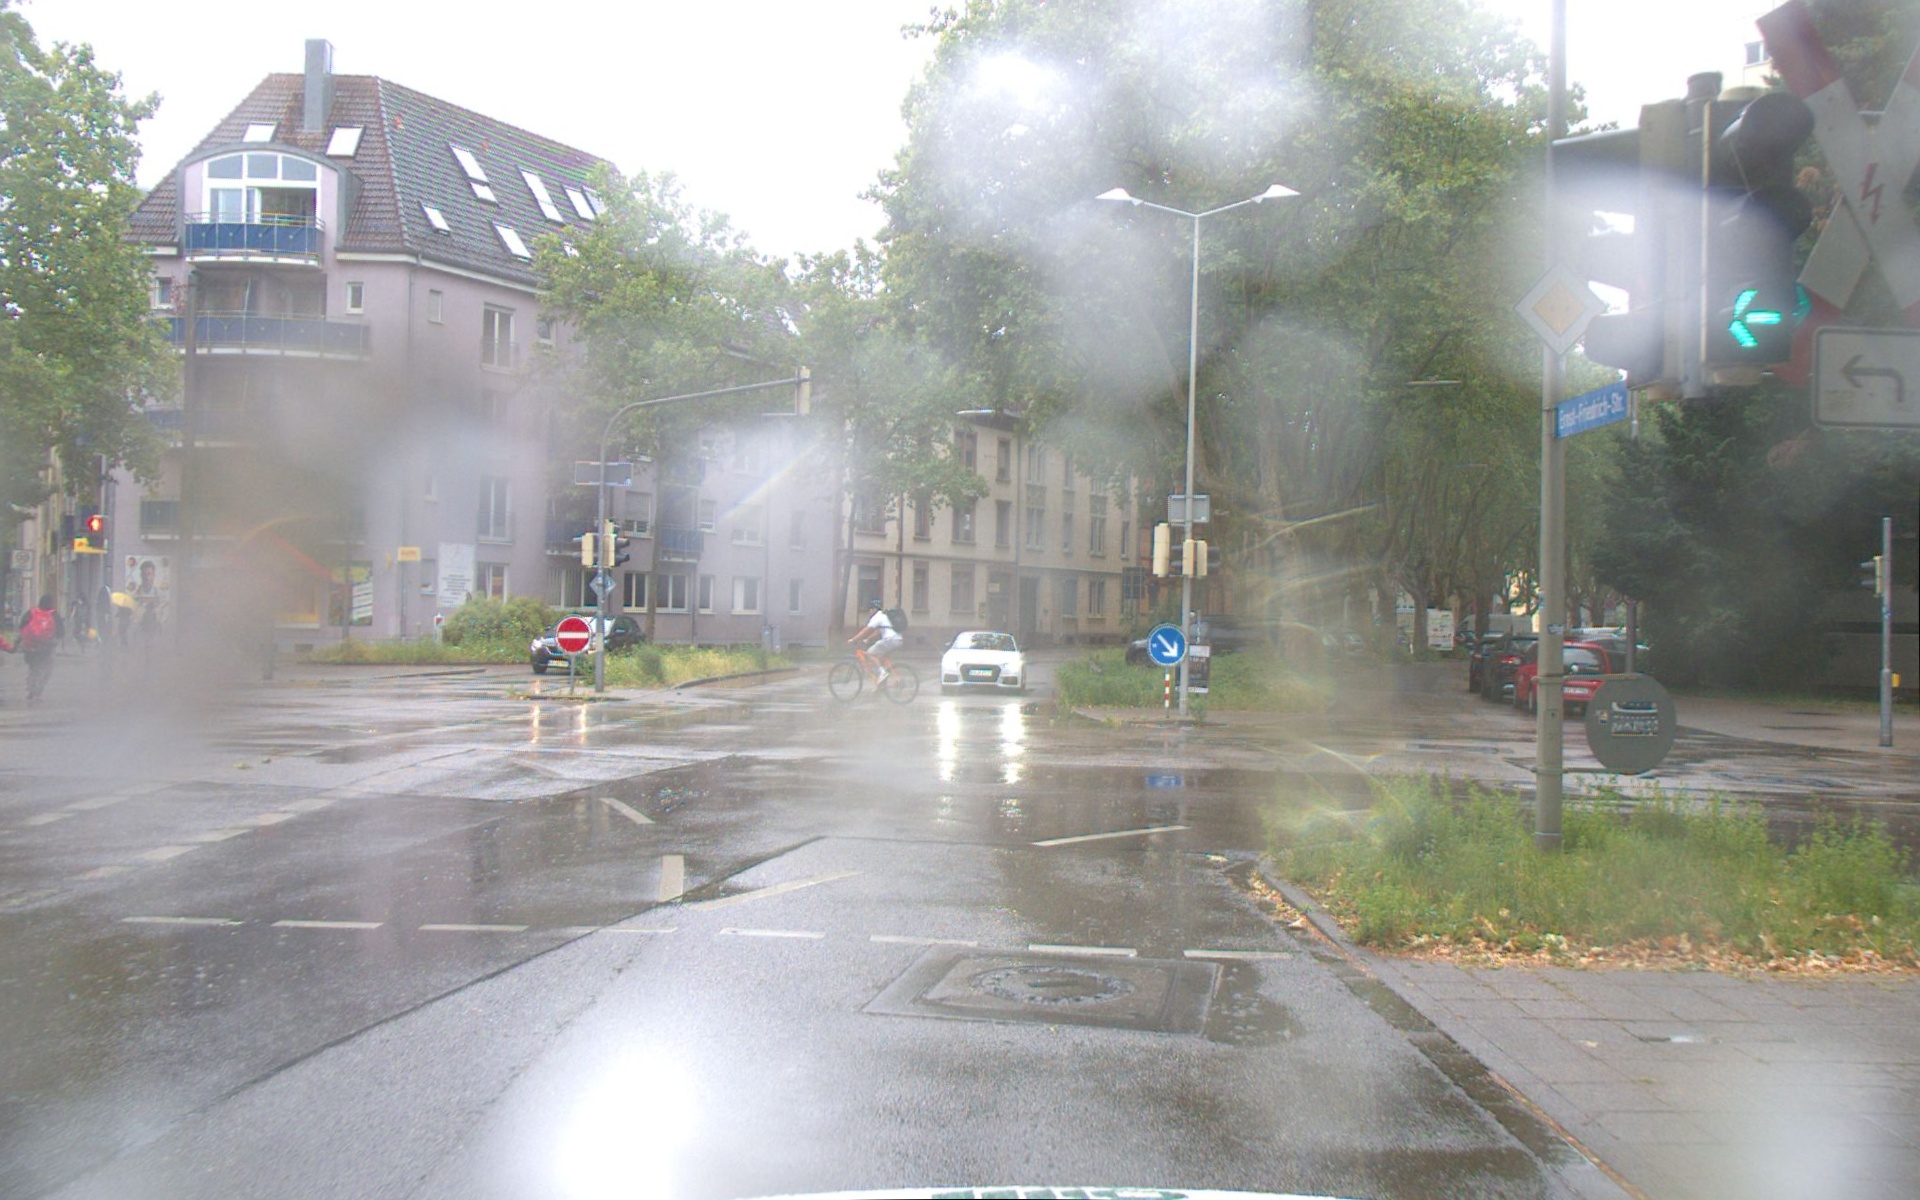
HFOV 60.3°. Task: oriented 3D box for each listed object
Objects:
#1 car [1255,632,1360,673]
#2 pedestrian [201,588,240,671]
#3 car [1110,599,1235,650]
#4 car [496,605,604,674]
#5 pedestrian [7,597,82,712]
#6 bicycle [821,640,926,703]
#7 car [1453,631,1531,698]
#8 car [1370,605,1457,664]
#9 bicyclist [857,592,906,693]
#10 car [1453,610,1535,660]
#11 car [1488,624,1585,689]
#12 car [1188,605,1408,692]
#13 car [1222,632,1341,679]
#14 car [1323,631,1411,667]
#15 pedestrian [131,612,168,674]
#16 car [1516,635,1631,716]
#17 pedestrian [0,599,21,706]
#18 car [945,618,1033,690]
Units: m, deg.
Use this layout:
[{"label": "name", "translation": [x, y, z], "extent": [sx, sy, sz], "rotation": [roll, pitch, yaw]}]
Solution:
[{"label": "car", "translation": [13.428, 2.016, 64.018], "extent": [3.902, 1.512, 2.002], "rotation": [1, -1, 12]}, {"label": "pedestrian", "translation": [-17.124, 0.684, 38.326], "extent": [0.777, 1.888, 0.676], "rotation": [1, -1, -25]}, {"label": "car", "translation": [6.728, 0.768, 52.274], "extent": [3.784, 1.512, 1.717], "rotation": [1, -1, 12]}, {"label": "car", "translation": [-9.755, 0.912, 39.620], "extent": [1.716, 1.538, 3.837], "rotation": [1, 0, -2]}, {"label": "pedestrian", "translation": [-13.446, 0.781, 24.314], "extent": [0.715, 1.653, 0.816], "rotation": [0, 1, -8]}, {"label": "bicycle", "translation": [-1.581, 1.303, 30.359], "extent": [1.833, 1.100, 0.657], "rotation": [1, -1, 7]}, {"label": "car", "translation": [14.836, 1.756, 46.275], "extent": [1.745, 1.757, 4.003], "rotation": [1, -1, 13]}, {"label": "car", "translation": [23.646, 1.770, 86.469], "extent": [2.005, 3.000, 4.741], "rotation": [1, -1, -21]}, {"label": "bicyclist", "translation": [-1.436, 0.771, 30.357], "extent": [0.778, 1.817, 0.697], "rotation": [1, -1, 7]}, {"label": "car", "translation": [33.298, 2.174, 103.247], "extent": [1.974, 3.000, 4.720], "rotation": [2, -1, -32]}, {"label": "car", "translation": [13.768, 1.310, 39.672], "extent": [1.745, 1.371, 3.932], "rotation": [1, 0, 13]}, {"label": "car", "translation": [6.341, 0.889, 31.137], "extent": [3.902, 1.512, 2.002], "rotation": [1, -1, 12]}, {"label": "car", "translation": [10.909, 1.857, 56.141], "extent": [3.902, 1.512, 2.002], "rotation": [1, -1, 12]}, {"label": "car", "translation": [18.989, 2.272, 77.303], "extent": [3.902, 1.574, 2.002], "rotation": [1, -1, 12]}, {"label": "pedestrian", "translation": [-18.979, 1.002, 38.717], "extent": [0.643, 1.420, 0.773], "rotation": [1, -1, -35]}, {"label": "car", "translation": [12.941, 1.547, 35.097], "extent": [1.754, 1.524, 4.003], "rotation": [1, 0, 13]}, {"label": "pedestrian", "translation": [-14.182, 0.756, 24.066], "extent": [0.669, 1.547, 0.658], "rotation": [1, -1, -7]}, {"label": "car", "translation": [0.654, 1.183, 37.437], "extent": [1.845, 1.461, 4.000], "rotation": [1, 0, 1]}]
